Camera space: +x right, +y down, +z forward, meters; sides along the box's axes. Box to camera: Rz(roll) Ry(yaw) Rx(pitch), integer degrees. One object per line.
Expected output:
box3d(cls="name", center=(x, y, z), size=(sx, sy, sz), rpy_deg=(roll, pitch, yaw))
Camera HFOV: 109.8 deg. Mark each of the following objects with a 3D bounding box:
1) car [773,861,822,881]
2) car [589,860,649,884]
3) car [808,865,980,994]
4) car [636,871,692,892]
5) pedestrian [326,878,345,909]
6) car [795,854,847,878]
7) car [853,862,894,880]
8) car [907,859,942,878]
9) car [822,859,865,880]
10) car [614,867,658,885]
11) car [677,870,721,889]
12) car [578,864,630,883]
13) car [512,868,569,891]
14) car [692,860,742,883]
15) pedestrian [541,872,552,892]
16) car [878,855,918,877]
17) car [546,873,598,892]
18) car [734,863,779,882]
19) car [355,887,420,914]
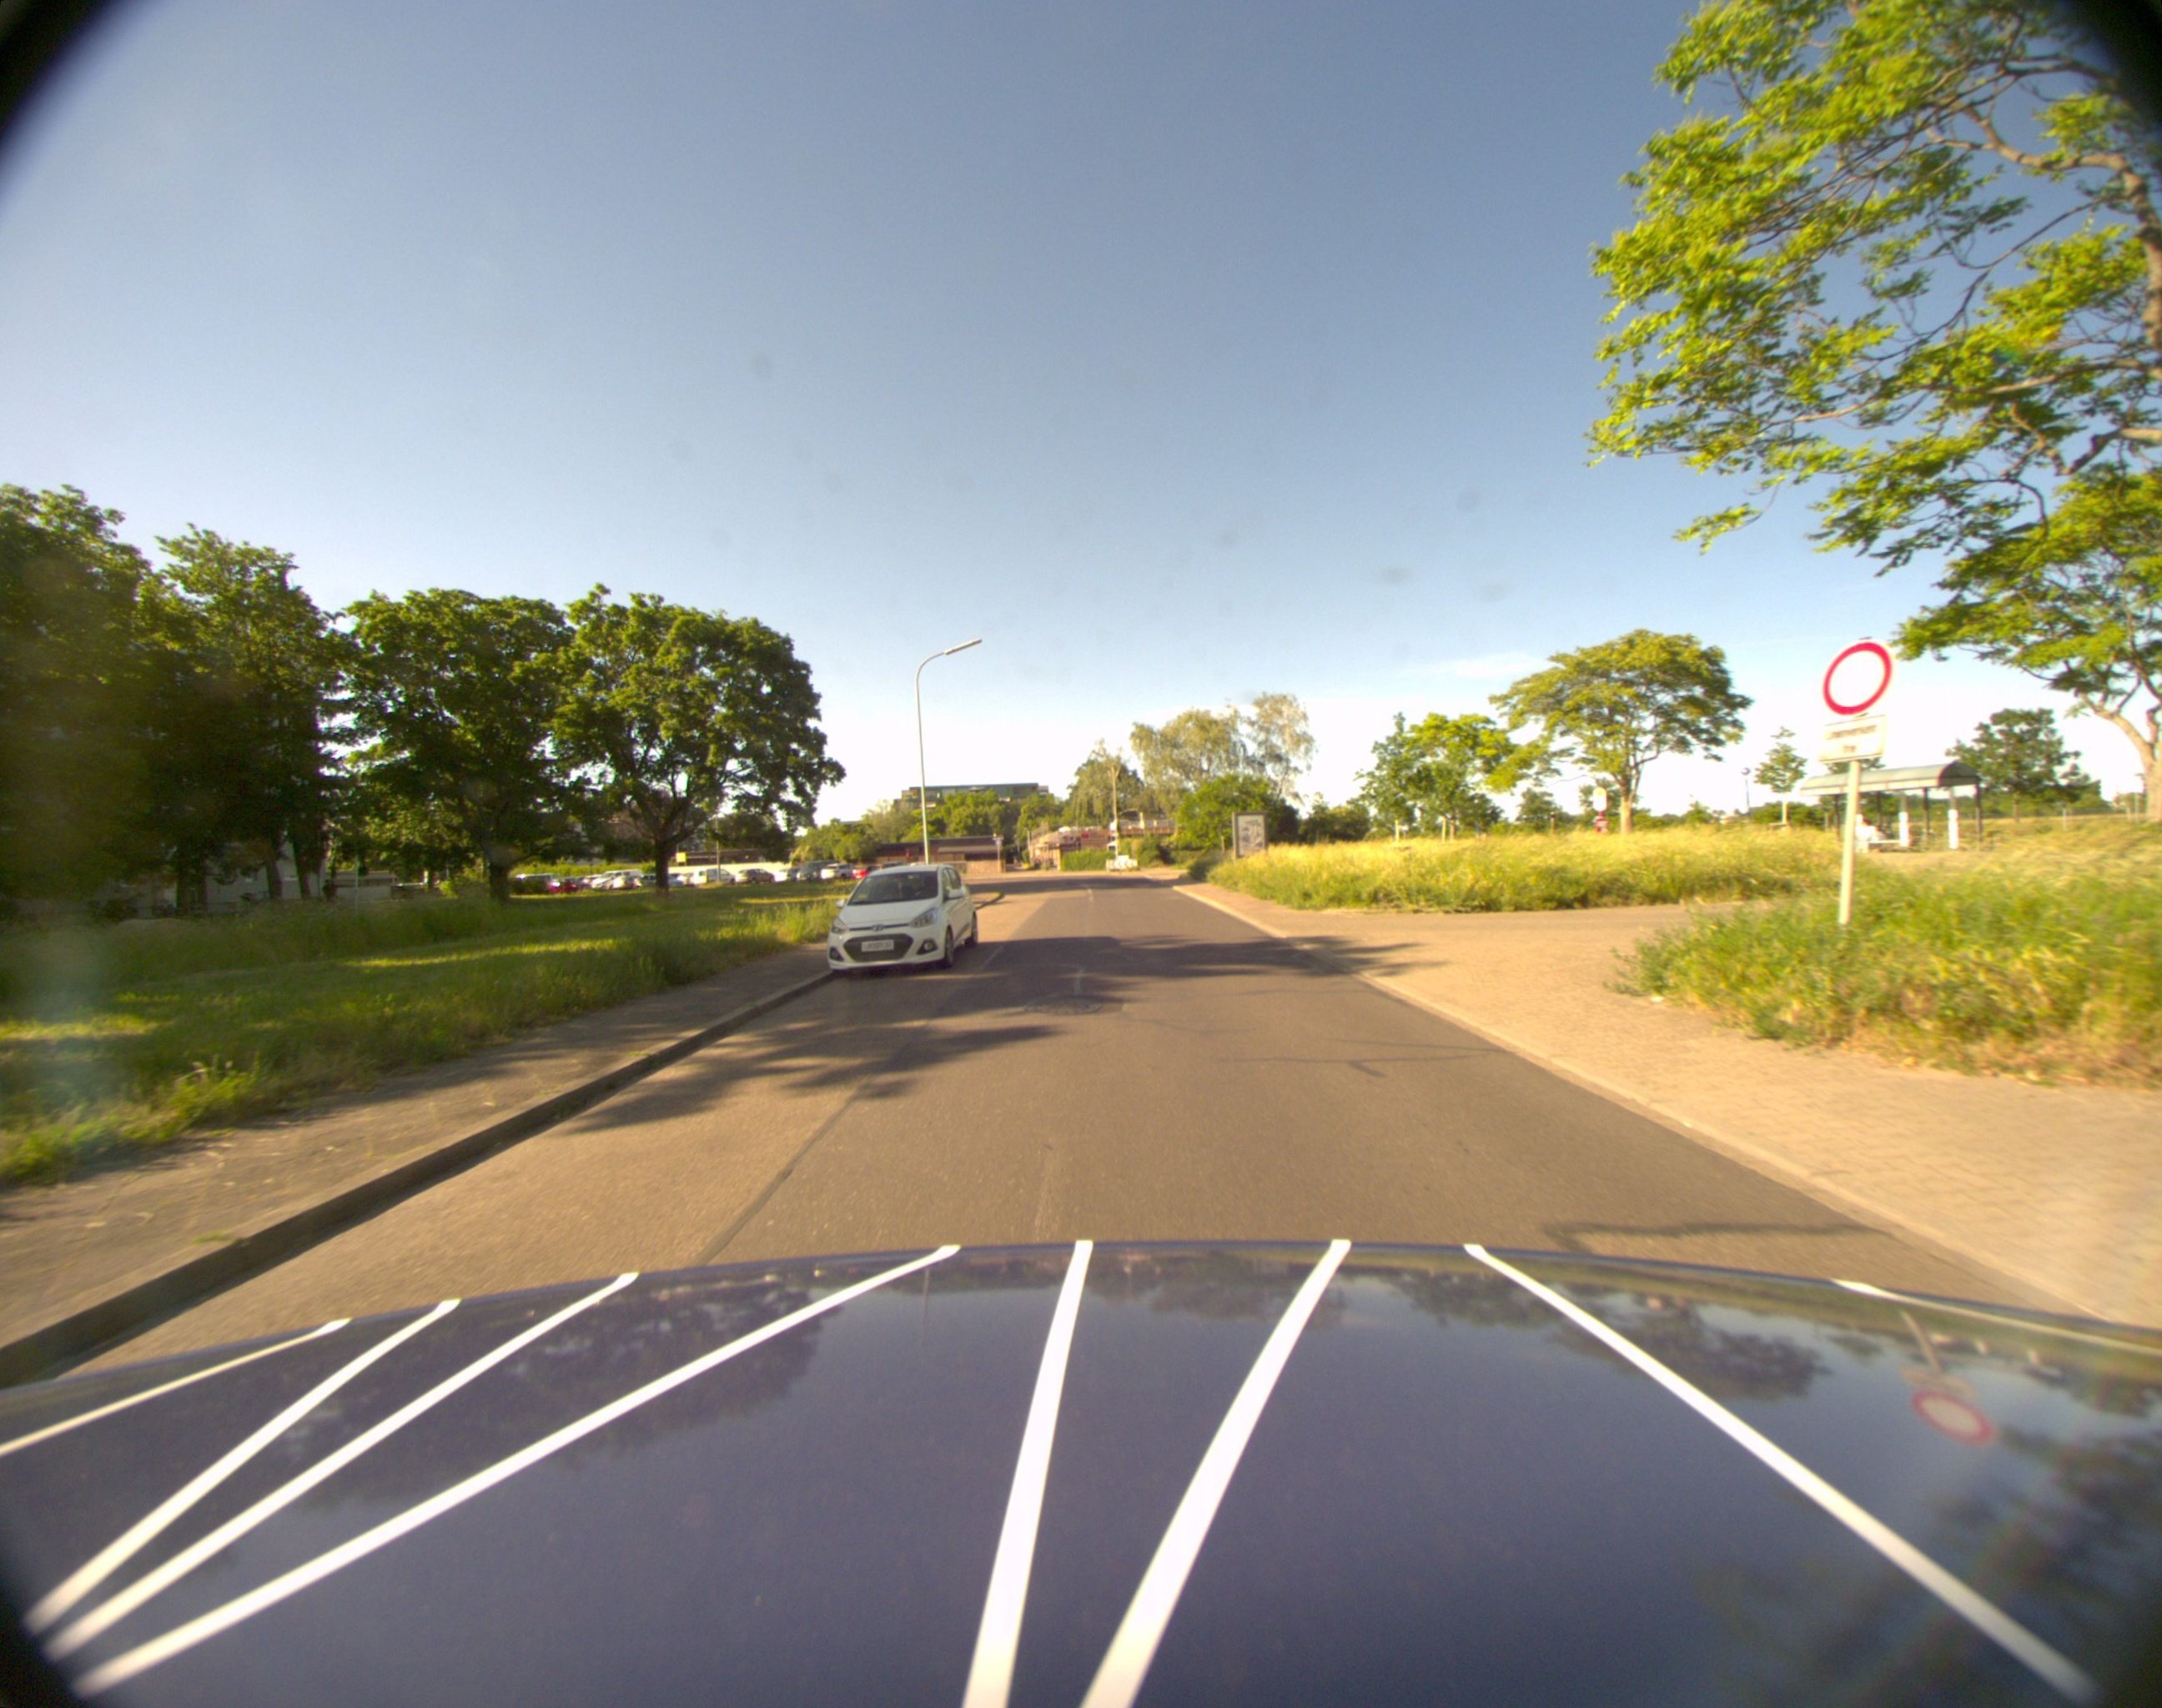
box3d(cls="car", center=(-25.957, 1.518, 69.660), size=(1.921, 1.484, 4.155), rpy_deg=(-2, 2, 19))
box3d(cls="car", center=(-46.700, 1.791, 76.955), size=(2.077, 1.910, 4.808), rpy_deg=(-2, 3, 19))
box3d(cls="car", center=(-2.716, 1.027, 11.897), size=(1.726, 1.471, 3.739), rpy_deg=(-4, 1, -1))
box3d(cls="car", center=(-33.283, 2.196, 60.624), size=(3.781, 1.534, 1.738), rpy_deg=(-2, 2, 19))
box3d(cls="pedestrian", center=(-41.034, 2.157, 41.831), size=(0.534, 1.653, 0.492), rpy_deg=(-1, 4, 31))
box3d(cls="car", center=(-23.469, 1.030, 68.856), size=(1.996, 1.905, 4.892), rpy_deg=(-2, 1, 14))
box3d(cls="car", center=(-18.520, 1.507, 68.029), size=(1.729, 1.337, 3.627), rpy_deg=(-2, 3, 18))
box3d(cls="car", center=(-13.656, 1.250, 66.505), size=(1.632, 1.450, 3.701), rpy_deg=(-3, 1, 11))
box3d(cls="car", center=(-21.151, 1.347, 67.763), size=(1.729, 1.598, 3.627), rpy_deg=(-2, 3, 18))
box3d(cls="car", center=(-44.295, 2.183, 75.673), size=(1.633, 1.438, 3.528), rpy_deg=(-2, 3, 17))
box3d(cls="car", center=(-36.929, 2.437, 73.613), size=(1.724, 1.481, 3.527), rpy_deg=(1, 5, 19))
box3d(cls="car", center=(-49.044, 1.998, 78.162), size=(1.879, 1.574, 4.005), rpy_deg=(-1, 3, 25))
box3d(cls="car", center=(-57.494, 2.691, 80.914), size=(1.995, 1.966, 4.498), rpy_deg=(-1, 3, 24))
box3d(cls="car", center=(-34.808, 1.666, 72.724), size=(1.921, 1.771, 3.993), rpy_deg=(-3, 3, 18))
box3d(cls="pedestrian", center=(-42.686, 2.211, 60.647), size=(0.595, 1.555, 0.484), rpy_deg=(-1, 0, 31))
box3d(cls="car", center=(-16.053, 1.065, 66.914), size=(1.816, 1.603, 4.001), rpy_deg=(-2, 3, 11))
box3d(cls="car", center=(-42.879, 2.399, 64.003), size=(3.781, 1.438, 1.582), rpy_deg=(-2, 2, 19))
box3d(cls="car", center=(-30.473, 1.754, 71.424), size=(1.786, 1.524, 3.830), rpy_deg=(-2, 1, 15))
box3d(cls="car", center=(-46.034, 3.113, 50.430), size=(3.803, 1.586, 1.736), rpy_deg=(-3, 1, 25))
